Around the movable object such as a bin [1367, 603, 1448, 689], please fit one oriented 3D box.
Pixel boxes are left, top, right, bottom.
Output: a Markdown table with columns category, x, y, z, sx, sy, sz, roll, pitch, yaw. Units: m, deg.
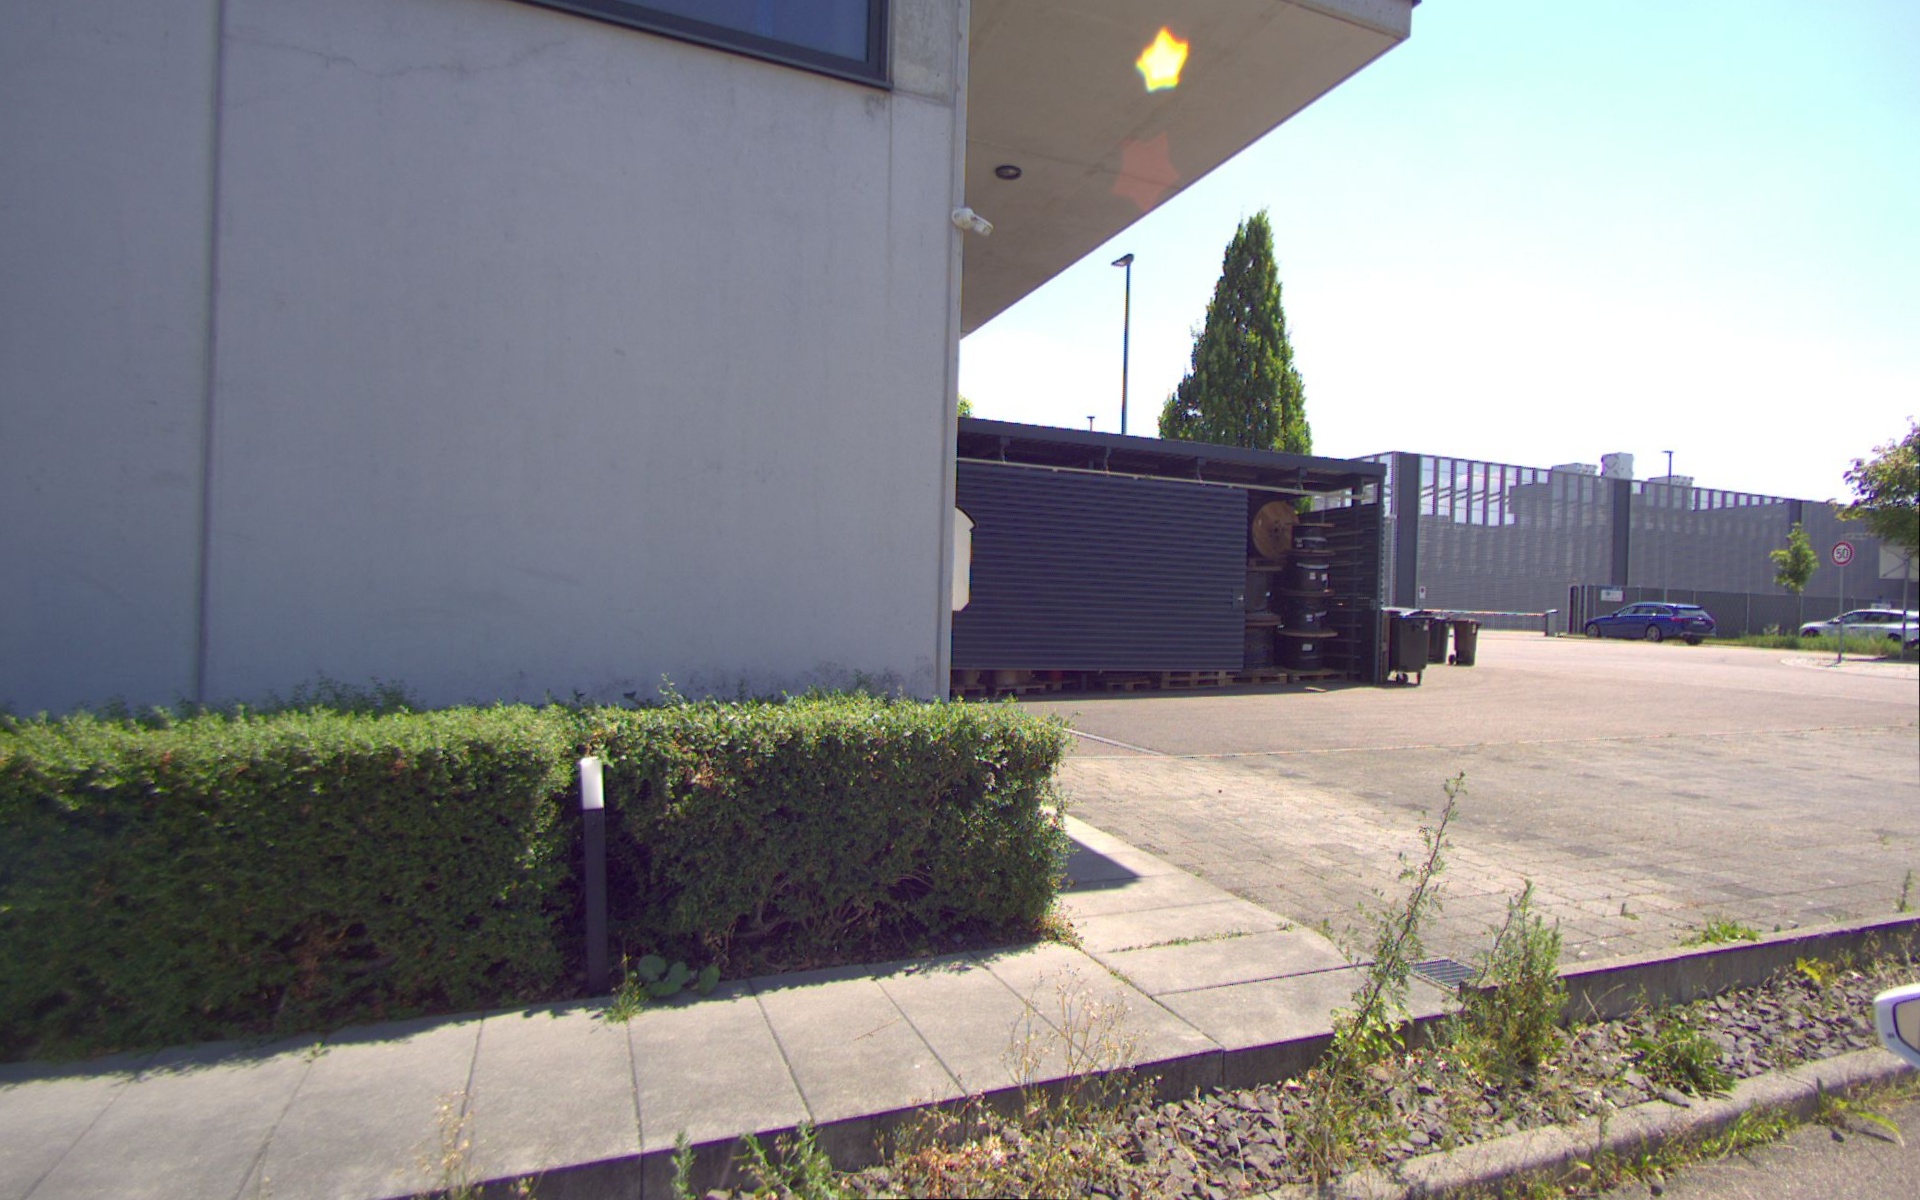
| category | x | y | z | sx | sy | sz | roll | pitch | yaw |
| --- | --- | --- | --- | --- | --- | --- | --- | --- | --- |
| movable object such as a bin | 7.309 | 0.739 | 16.429 | 0.870 | 1.363 | 0.810 | 1 | 0 | -16 |

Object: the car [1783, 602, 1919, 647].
| category | x | y | z | sx | sy | sz | roll | pitch | yaw |
| --- | --- | --- | --- | --- | --- | --- | --- | --- | --- |
| car | 35.123 | 0.902 | 38.985 | 1.963 | 1.512 | 4.847 | 1 | 1 | -8 |

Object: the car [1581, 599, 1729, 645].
| category | x | y | z | sx | sy | sz | roll | pitch | yaw |
| --- | --- | --- | --- | --- | --- | --- | --- | --- | --- |
| car | 25.646 | 0.764 | 37.267 | 1.963 | 1.512 | 4.508 | 1 | 1 | -8 |

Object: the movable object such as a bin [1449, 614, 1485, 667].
| category | x | y | z | sx | sy | sz | roll | pitch | yaw |
| --- | --- | --- | --- | --- | --- | --- | --- | --- | --- |
| movable object such as a bin | 10.253 | 0.810 | 20.322 | 0.569 | 1.050 | 0.424 | 2 | 0 | 35 |

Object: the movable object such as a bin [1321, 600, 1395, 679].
| category | x | y | z | sx | sy | sz | roll | pitch | yaw |
| --- | --- | --- | --- | --- | --- | --- | --- | --- | --- |
| movable object such as a bin | 6.996 | 0.694 | 17.683 | 0.958 | 1.347 | 0.707 | 1 | 0 | -17 |

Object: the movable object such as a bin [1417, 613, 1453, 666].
| category | x | y | z | sx | sy | sz | roll | pitch | yaw |
| --- | --- | --- | --- | --- | --- | --- | --- | --- | --- |
| movable object such as a bin | 9.777 | 0.805 | 20.667 | 0.572 | 1.041 | 0.424 | 2 | 0 | 35 |
